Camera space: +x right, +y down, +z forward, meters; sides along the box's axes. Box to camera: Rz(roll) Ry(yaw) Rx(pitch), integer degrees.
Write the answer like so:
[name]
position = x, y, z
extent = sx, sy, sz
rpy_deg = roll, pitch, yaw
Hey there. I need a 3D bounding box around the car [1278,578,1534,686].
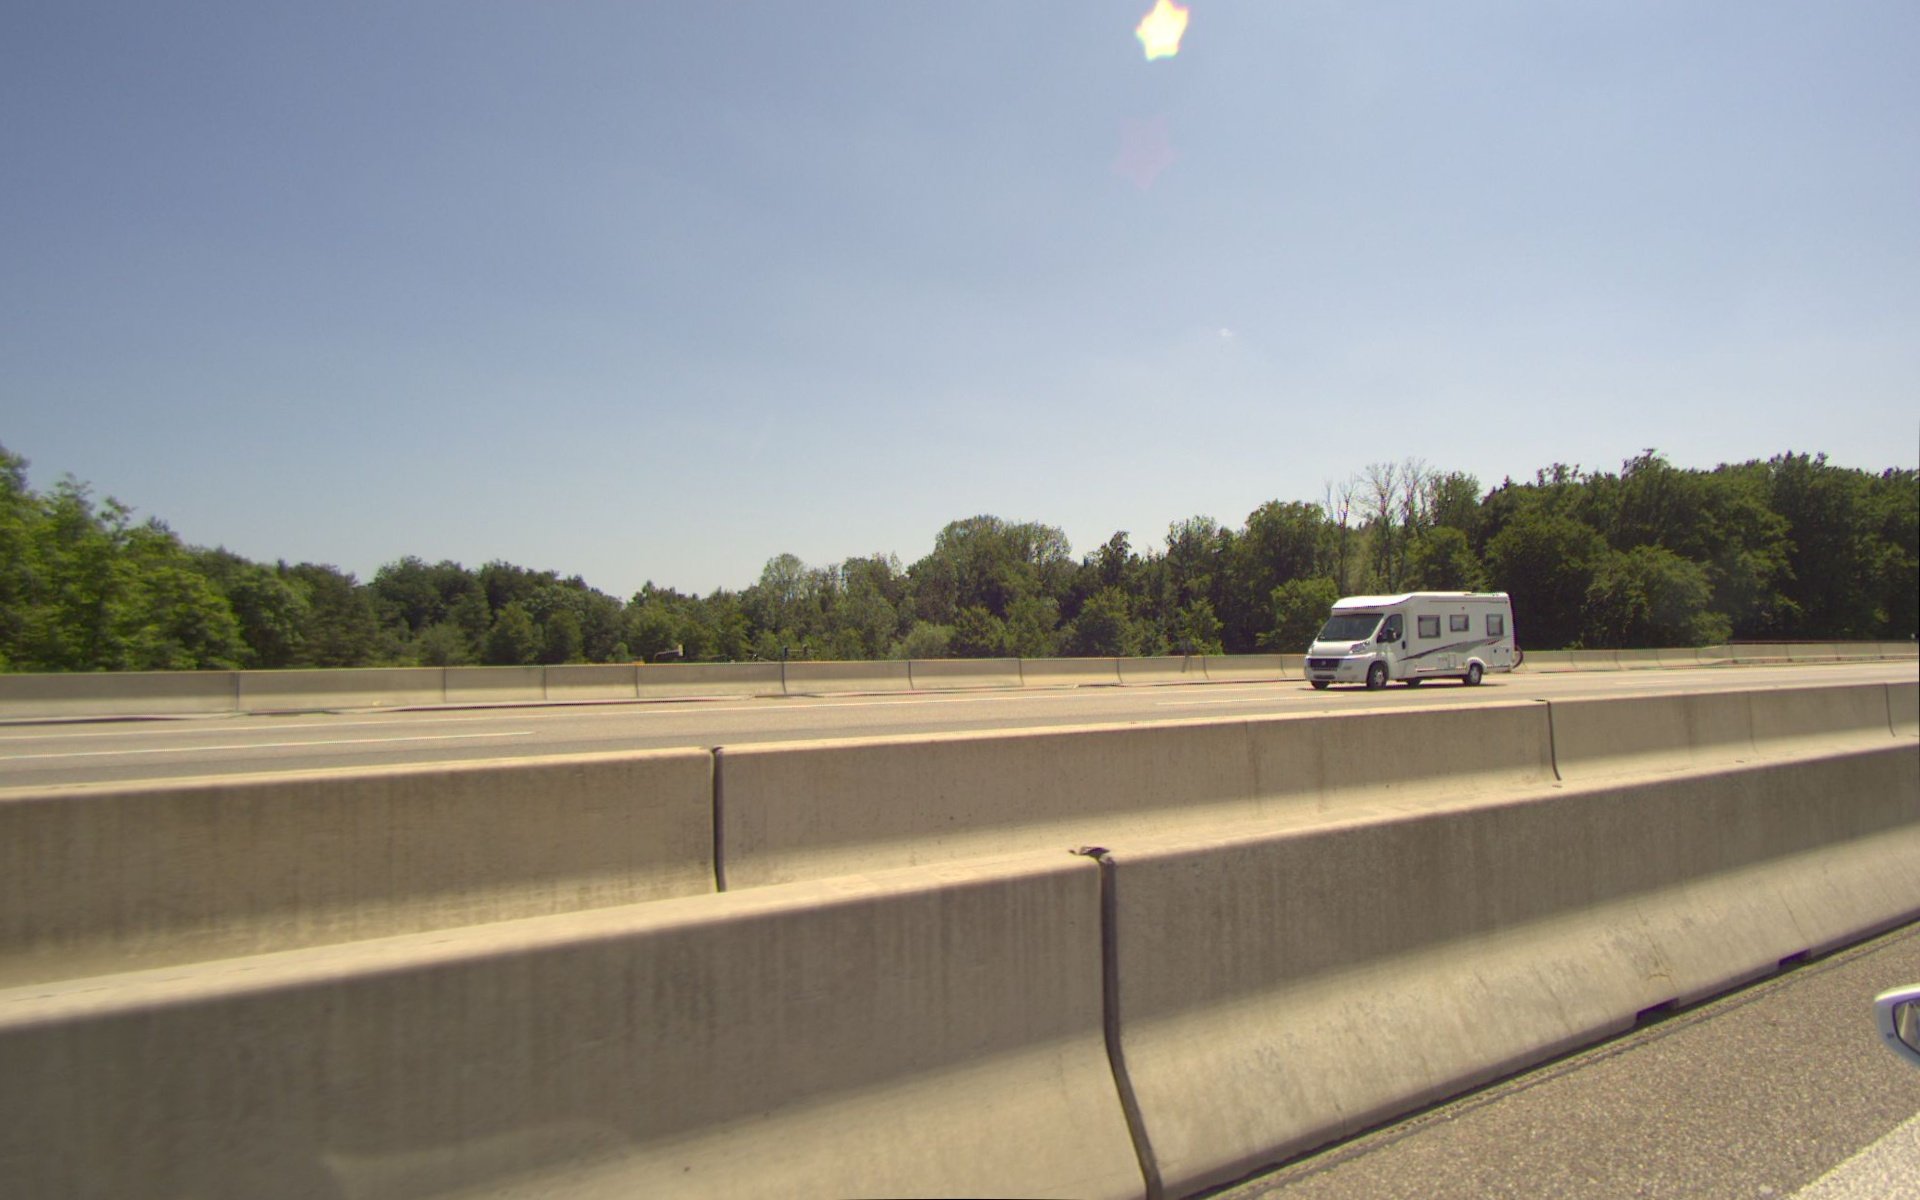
[car]
position = 12.623, 0.904, 28.113
extent = 8.079, 2.693, 2.211
rpy_deg = 1, -3, -30
